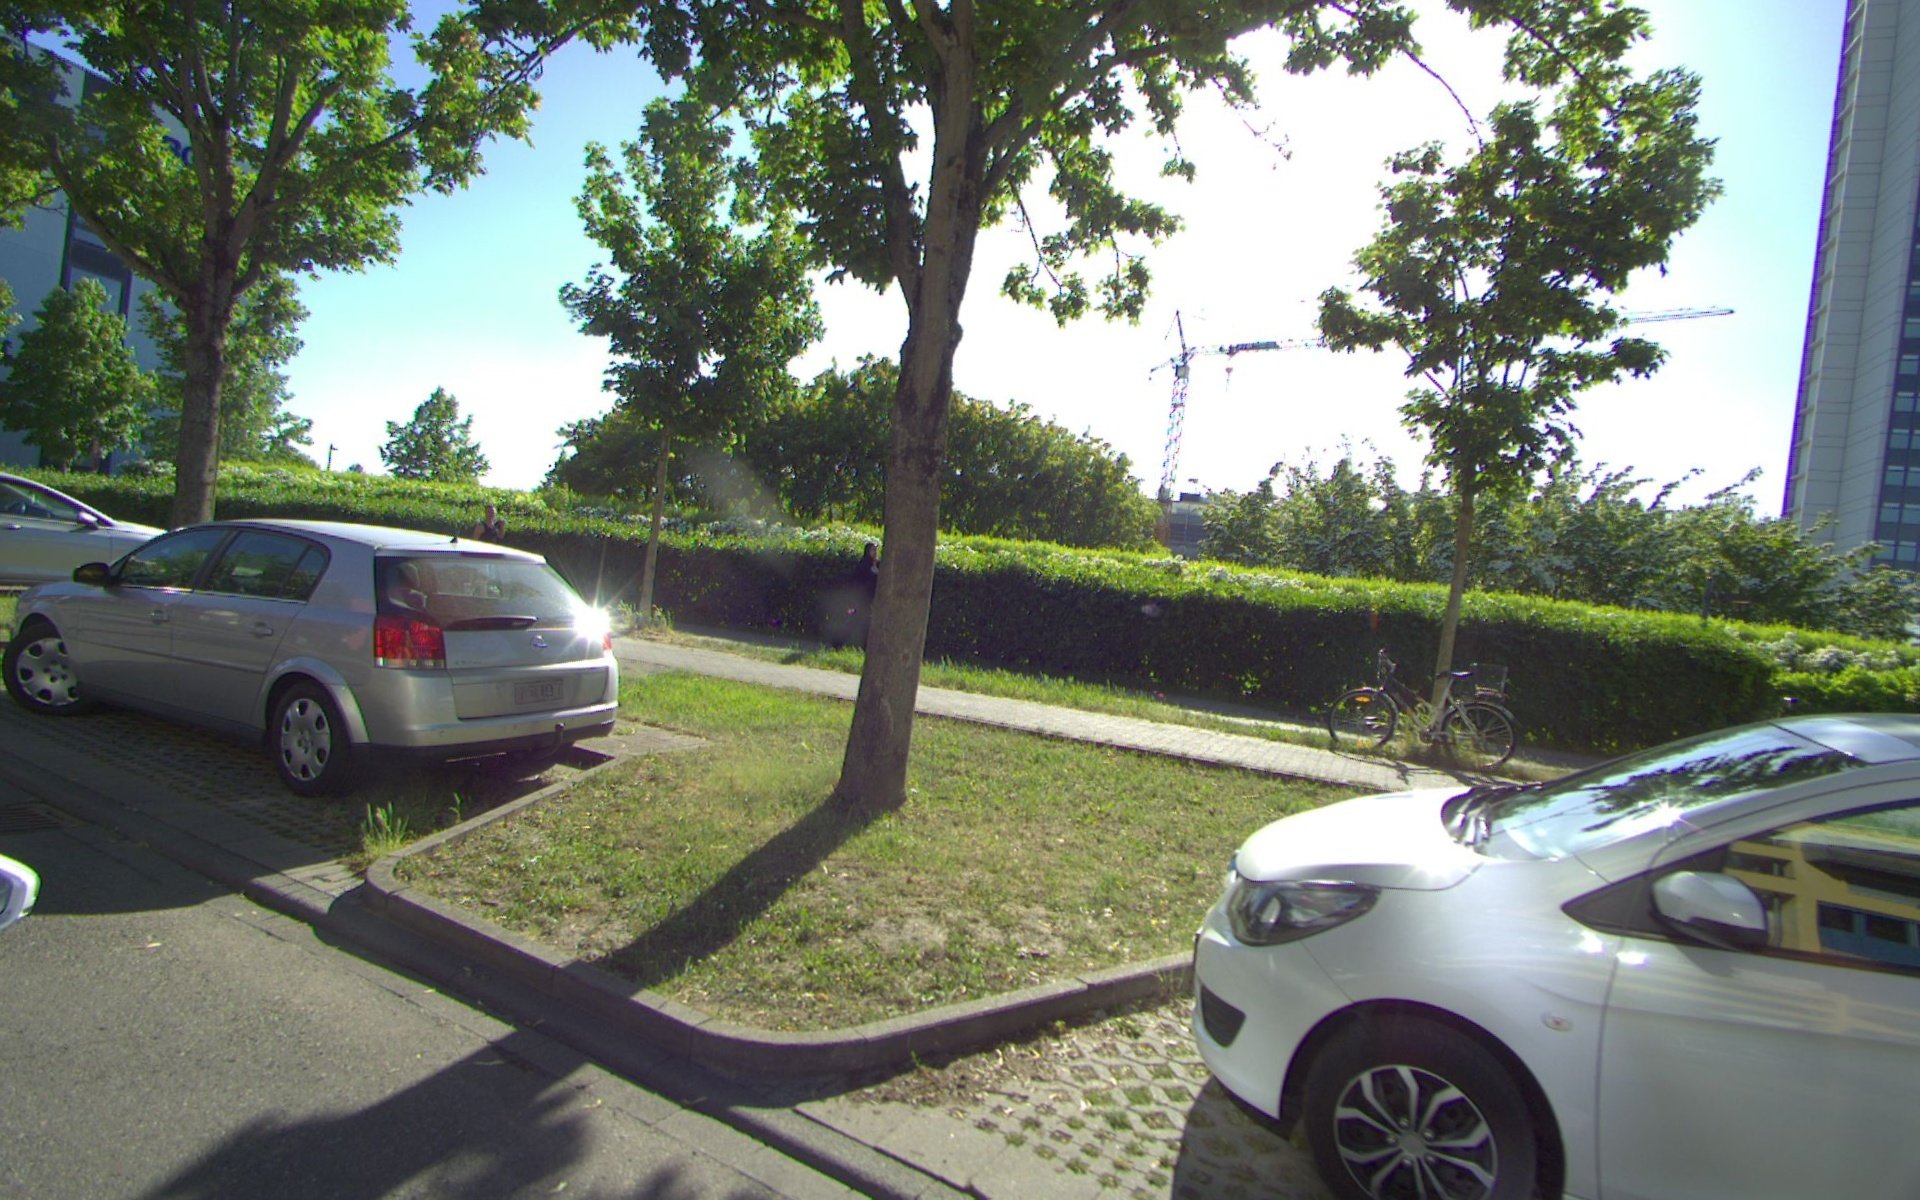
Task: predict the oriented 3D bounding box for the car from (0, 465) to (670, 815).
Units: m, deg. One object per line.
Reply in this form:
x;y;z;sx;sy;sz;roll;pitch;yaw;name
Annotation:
-4.374;0.075;6.690;4.540;1.513;1.811;7;3;25;car

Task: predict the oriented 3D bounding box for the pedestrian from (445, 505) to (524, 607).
-7.878;-0.718;16.677;0.920;1.562;0.608;7;1;23;pedestrian

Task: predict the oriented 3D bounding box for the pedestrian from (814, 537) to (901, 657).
-1.467;-0.033;14.471;0.837;1.608;0.725;7;1;23;pedestrian

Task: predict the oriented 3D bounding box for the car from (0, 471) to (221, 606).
-11.035;-0.740;11.308;1.614;1.449;4.090;7;3;28;car

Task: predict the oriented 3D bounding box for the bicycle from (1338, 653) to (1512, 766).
4.425;1.032;9.638;1.382;0.878;0.347;7;2;10;bicycle

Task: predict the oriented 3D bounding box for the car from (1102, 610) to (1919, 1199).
2.489;0.997;2.753;3.701;1.513;1.644;7;3;29;car
